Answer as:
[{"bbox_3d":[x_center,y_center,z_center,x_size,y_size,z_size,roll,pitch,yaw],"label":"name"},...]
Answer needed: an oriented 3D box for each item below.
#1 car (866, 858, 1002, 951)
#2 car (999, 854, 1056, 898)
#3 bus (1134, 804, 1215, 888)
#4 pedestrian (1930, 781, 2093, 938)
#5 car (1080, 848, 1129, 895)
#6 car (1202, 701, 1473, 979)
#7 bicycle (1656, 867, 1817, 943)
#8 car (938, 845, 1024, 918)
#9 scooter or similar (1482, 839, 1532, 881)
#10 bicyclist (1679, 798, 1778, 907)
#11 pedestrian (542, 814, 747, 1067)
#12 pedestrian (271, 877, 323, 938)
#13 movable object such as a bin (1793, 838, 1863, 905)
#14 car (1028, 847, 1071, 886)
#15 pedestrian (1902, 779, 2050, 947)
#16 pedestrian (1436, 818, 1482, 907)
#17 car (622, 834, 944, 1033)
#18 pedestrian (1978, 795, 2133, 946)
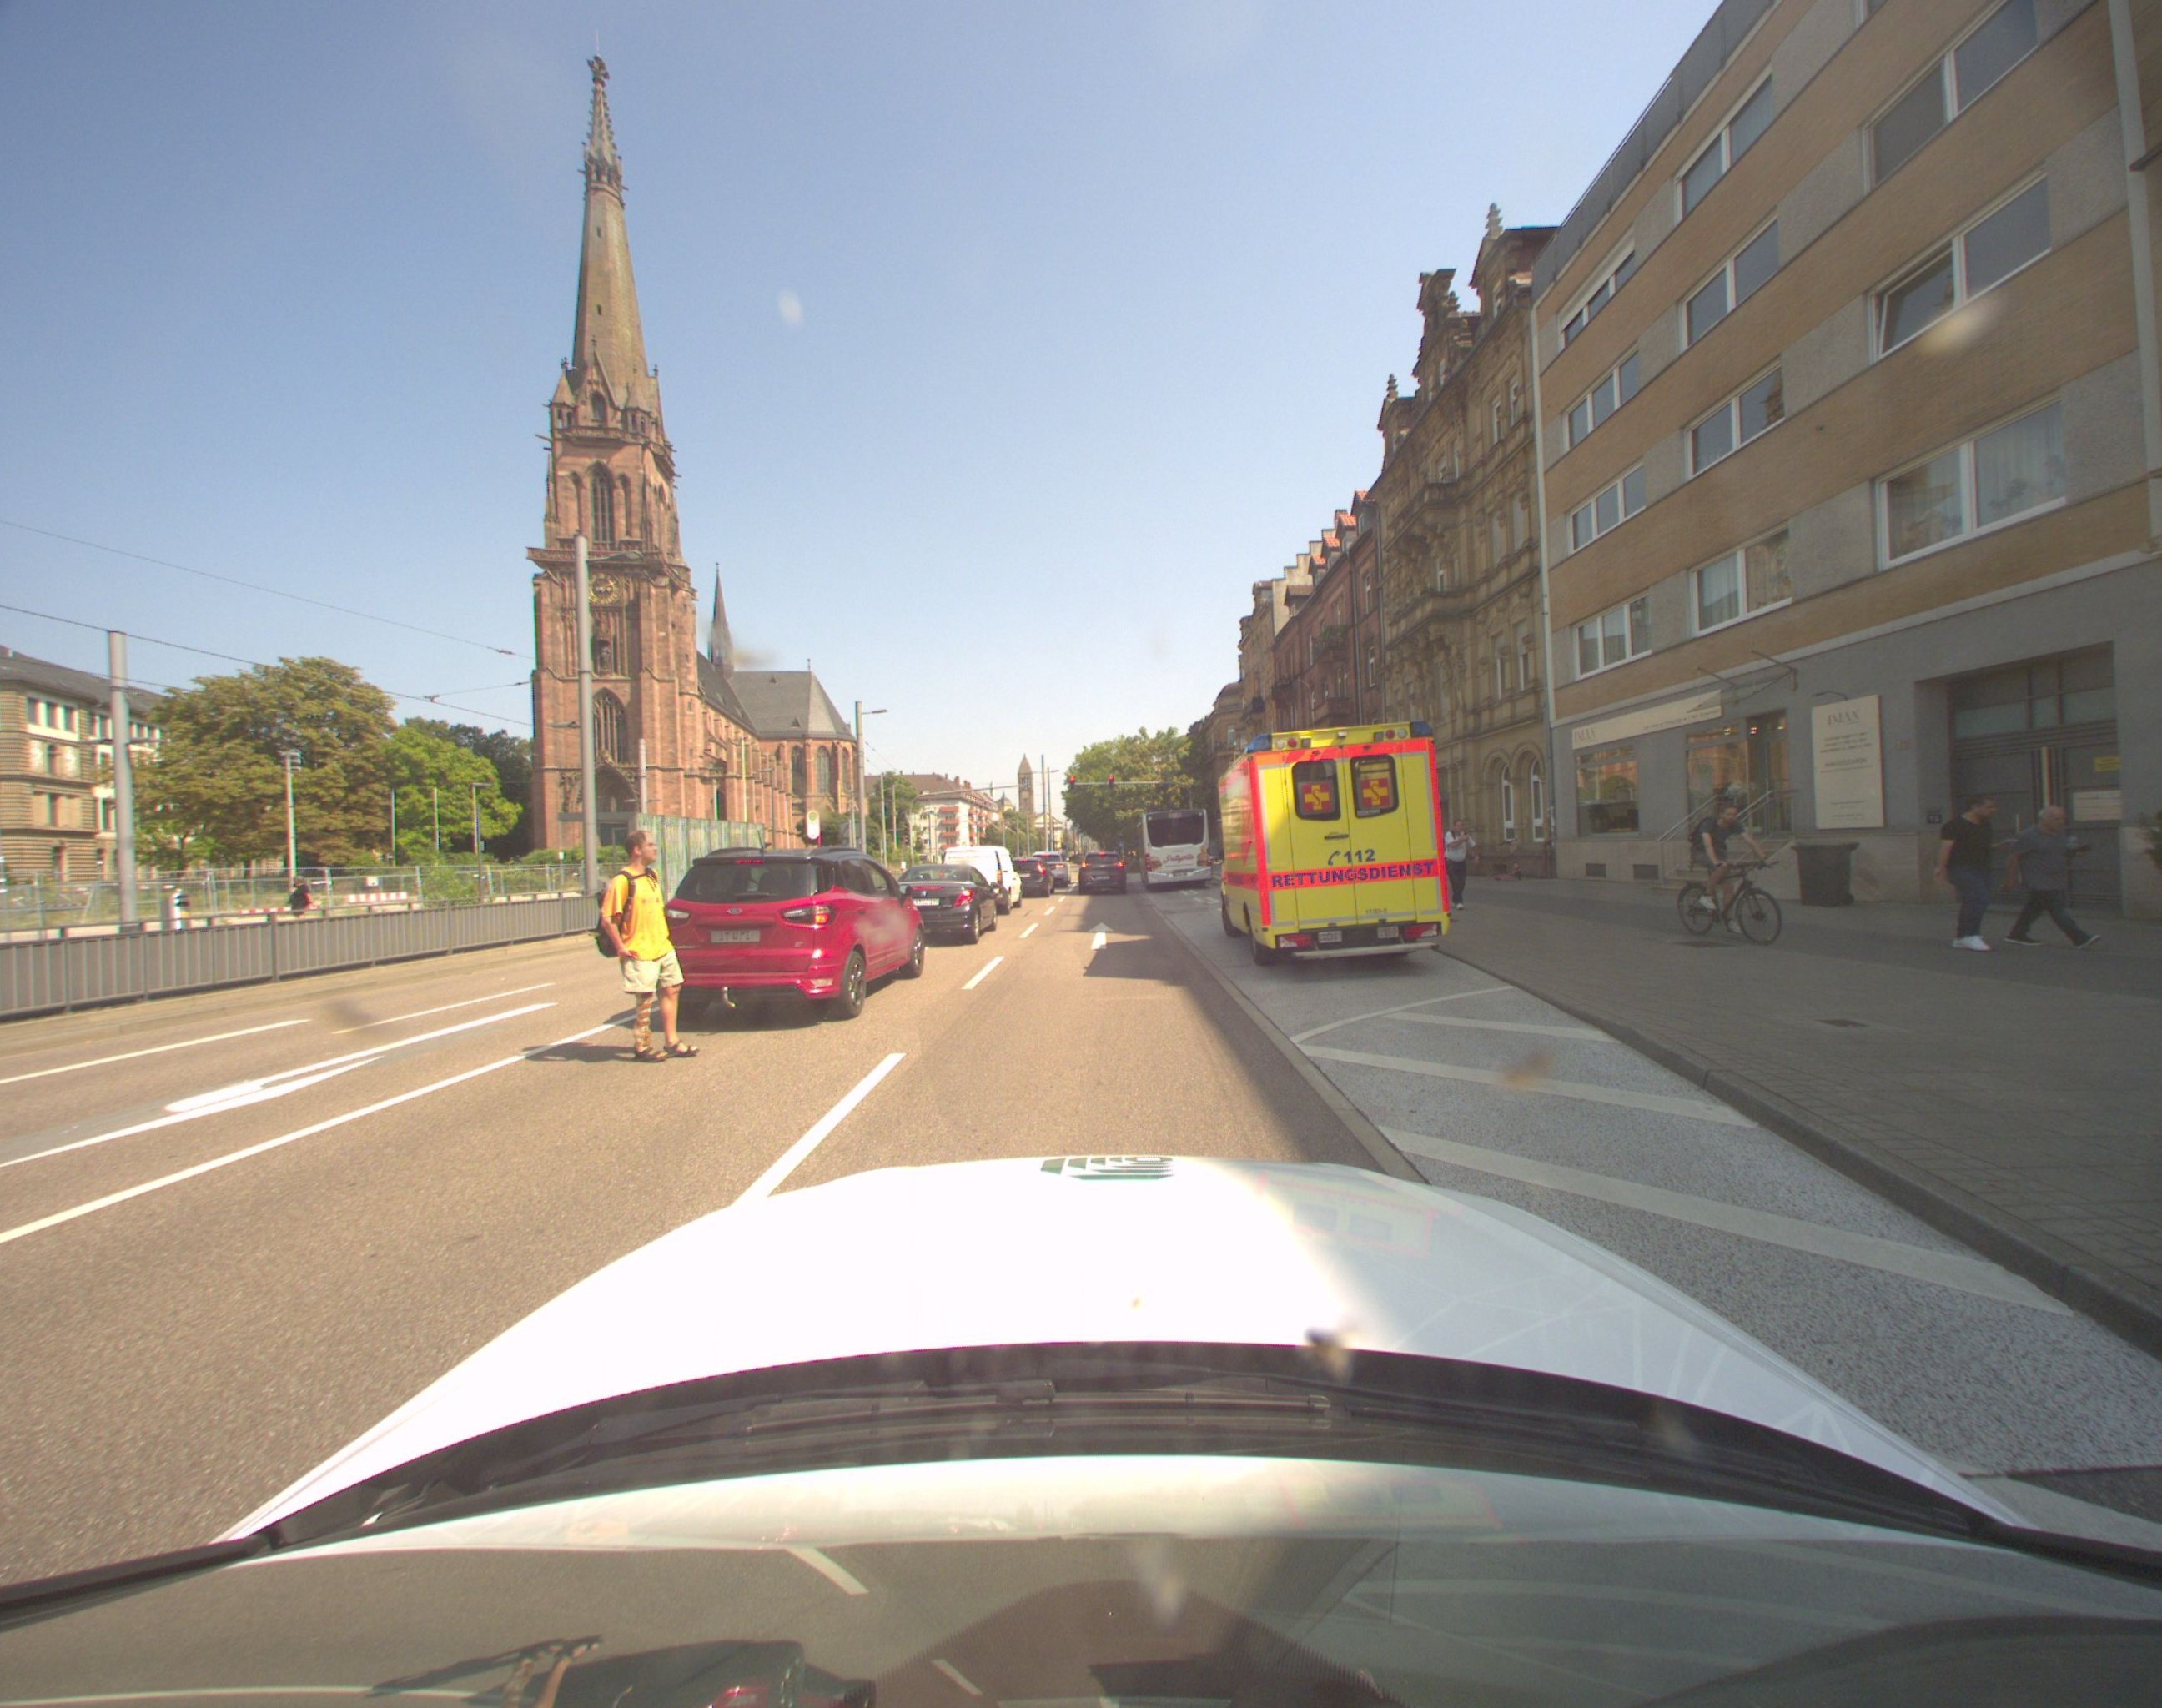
[{"bbox_3d":[-2.623,0.840,15.493,1.784,1.431,4.000,-2,0,0],"label":"car"},{"bbox_3d":[-1.953,0.803,30.898,1.784,1.472,4.000,-2,-1,0],"label":"car"},{"bbox_3d":[3.880,-0.311,36.633,2.524,3.031,12.441,-2,0,2],"label":"bus"},{"bbox_3d":[11.159,0.063,9.801,0.874,1.736,0.828,-5,0,1],"label":"pedestrian"},{"bbox_3d":[0.900,0.662,32.286,1.784,1.677,4.000,-2,-1,0],"label":"car"},{"bbox_3d":[3.201,-0.166,11.668,2.289,2.888,5.605,-4,0,4],"label":"car"},{"bbox_3d":[8.311,0.619,10.440,0.587,0.855,1.775,-4,-1,0],"label":"bicycle"},{"bbox_3d":[-2.657,0.710,22.561,1.784,1.780,4.000,-2,-1,0],"label":"car"},{"bbox_3d":[12.648,0.179,24.190,0.514,1.196,1.296,-2,0,-17],"label":"scooter or similar"},{"bbox_3d":[8.244,-0.019,10.397,0.750,1.322,0.582,-3,0,1],"label":"bicyclist"},{"bbox_3d":[-3.250,0.618,6.140,1.061,1.752,0.764,-2,-1,3],"label":"pedestrian"},{"bbox_3d":[-23.418,1.593,24.338,0.826,1.752,0.721,-2,-1,2],"label":"pedestrian"},{"bbox_3d":[12.291,0.279,13.408,0.651,1.047,0.755,-3,0,-42],"label":"movable object such as a bin"},{"bbox_3d":[-1.460,0.574,38.696,1.784,1.698,4.000,-2,-1,0],"label":"car"},{"bbox_3d":[9.497,0.094,8.675,0.641,1.685,0.789,-2,0,1],"label":"pedestrian"},{"bbox_3d":[7.264,0.157,15.626,0.690,1.667,0.606,-3,0,27],"label":"pedestrian"},{"bbox_3d":[-2.886,0.699,8.949,1.755,1.618,4.086,-2,-1,4],"label":"car"},{"bbox_3d":[10.288,0.167,8.630,0.641,1.493,0.789,-2,0,1],"label":"pedestrian"}]
